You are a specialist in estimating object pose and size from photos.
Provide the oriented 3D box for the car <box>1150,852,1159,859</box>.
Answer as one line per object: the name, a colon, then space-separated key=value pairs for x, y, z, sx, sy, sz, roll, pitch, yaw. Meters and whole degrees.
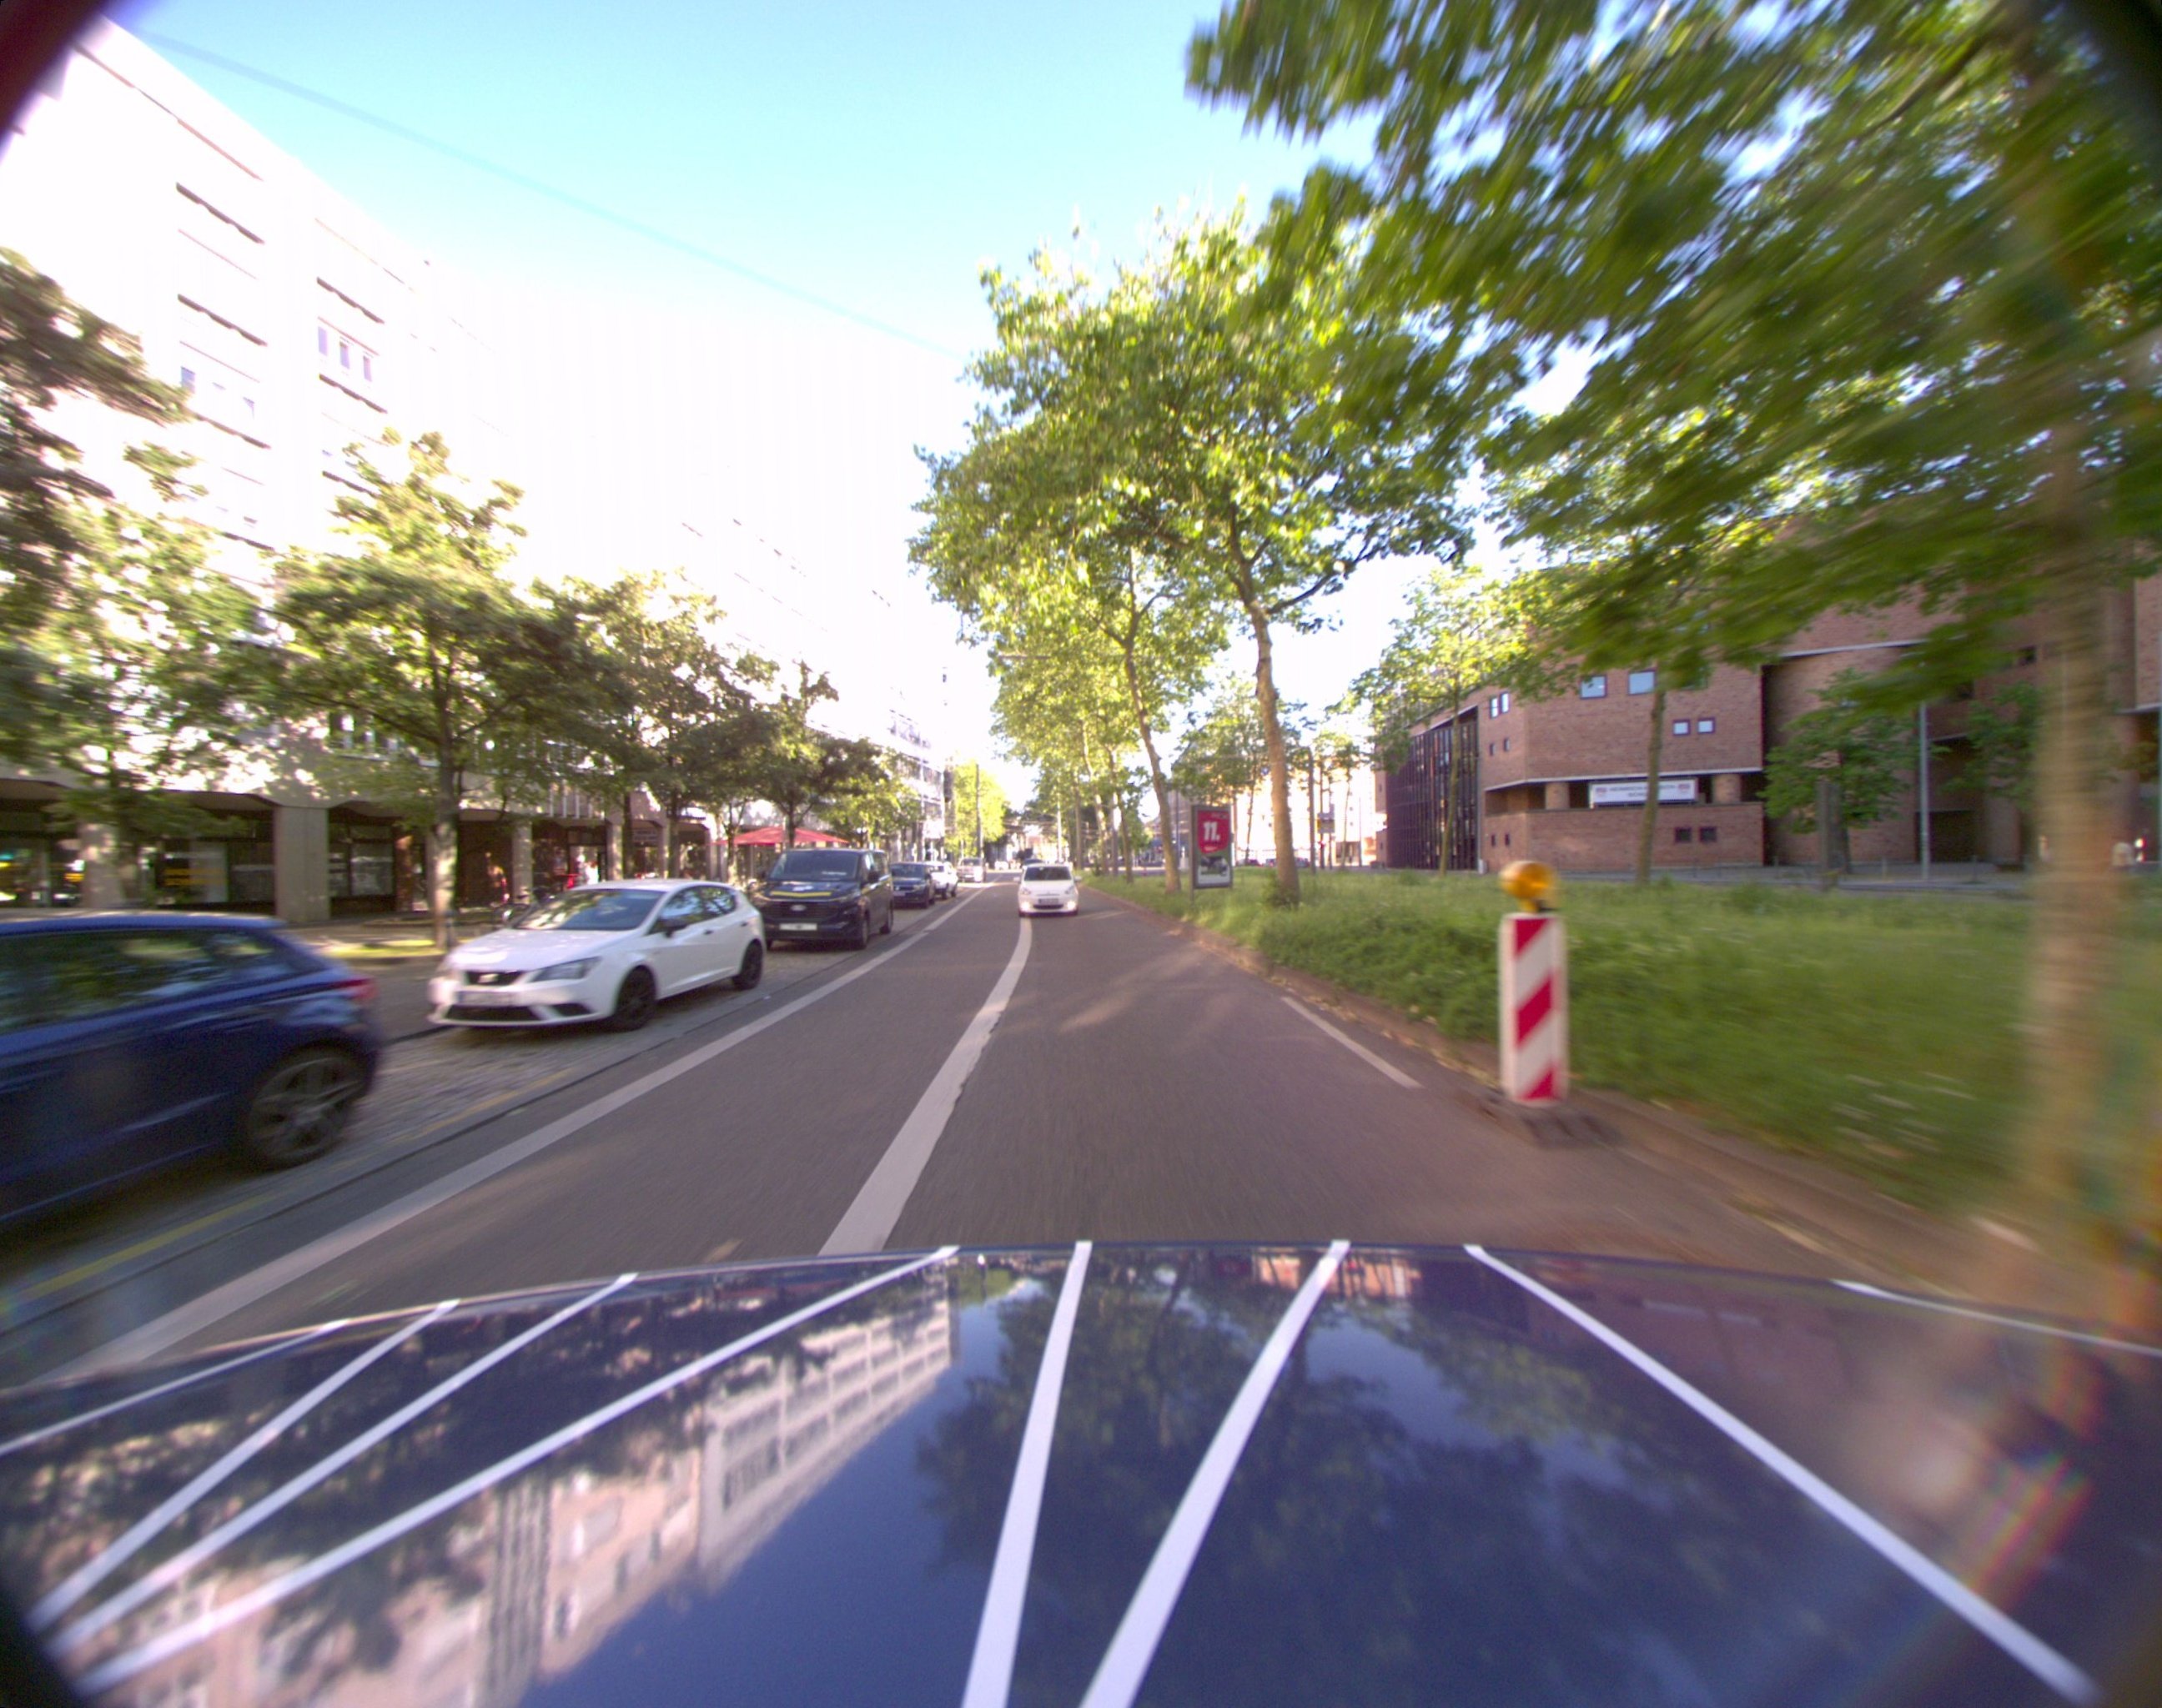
car: x=19.073 y=0.319 z=197.205 sx=1.703 sy=1.641 sz=4.000 roll=-1 pitch=0 yaw=0

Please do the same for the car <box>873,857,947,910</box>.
car: x=-6.042 y=0.993 z=27.379 sx=1.803 sy=1.714 sz=4.573 roll=1 pitch=0 yaw=-2

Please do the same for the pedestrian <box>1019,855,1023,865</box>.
pedestrian: x=-11.430 y=1.127 z=144.389 sx=0.654 sy=2.002 sz=0.741 roll=-1 pitch=0 yaw=-5

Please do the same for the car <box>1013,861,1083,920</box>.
car: x=-0.874 y=1.006 z=22.610 sx=1.720 sy=1.442 sz=4.425 roll=-4 pitch=0 yaw=1

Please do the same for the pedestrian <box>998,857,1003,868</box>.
pedestrian: x=-14.562 y=1.495 z=137.784 sx=0.645 sy=2.002 sz=0.657 roll=-1 pitch=0 yaw=23

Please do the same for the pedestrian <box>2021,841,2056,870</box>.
pedestrian: x=40.919 y=0.057 z=32.478 sx=0.664 sy=1.243 sz=0.758 roll=-1 pitch=1 yaw=29

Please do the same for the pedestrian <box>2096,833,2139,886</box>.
pedestrian: x=30.651 y=0.165 z=22.482 sx=0.417 sy=1.535 sz=0.653 roll=-1 pitch=1 yaw=10

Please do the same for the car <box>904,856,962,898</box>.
car: x=-6.362 y=0.936 z=33.090 sx=1.803 sy=1.714 sz=4.459 roll=1 pitch=0 yaw=-2

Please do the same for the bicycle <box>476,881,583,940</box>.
bicycle: x=-12.276 y=1.228 z=16.986 sx=0.484 sy=1.148 sz=1.915 roll=-1 pitch=0 yaw=24

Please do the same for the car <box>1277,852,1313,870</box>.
car: x=18.408 y=0.583 z=65.573 sx=1.675 sy=1.420 sz=4.148 roll=-1 pitch=0 yaw=-4

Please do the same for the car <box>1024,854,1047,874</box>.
car: x=-3.886 y=0.800 z=65.343 sx=1.824 sy=1.630 sz=3.999 roll=-1 pitch=0 yaw=-3

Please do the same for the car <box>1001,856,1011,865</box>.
car: x=-13.961 y=1.189 z=141.567 sx=1.866 sy=1.724 sz=4.017 roll=-1 pitch=0 yaw=-4

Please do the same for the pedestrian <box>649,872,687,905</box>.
pedestrian: x=-16.174 y=1.353 z=29.762 sx=0.931 sy=1.243 sz=0.968 roll=-1 pitch=0 yaw=0

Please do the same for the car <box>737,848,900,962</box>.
car: x=-5.075 y=0.881 z=15.536 sx=2.044 sy=1.932 sz=5.195 roll=1 pitch=0 yaw=-6

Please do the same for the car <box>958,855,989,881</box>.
car: x=-8.019 y=1.004 z=56.963 sx=1.922 sy=1.893 sz=4.859 roll=1 pitch=0 yaw=-3

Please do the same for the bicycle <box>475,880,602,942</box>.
bicycle: x=-11.743 y=1.198 z=16.538 sx=0.654 sy=1.180 sz=2.188 roll=-1 pitch=0 yaw=24

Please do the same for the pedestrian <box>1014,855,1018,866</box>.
pedestrian: x=-11.921 y=1.138 z=139.333 sx=0.614 sy=2.002 sz=0.529 roll=-1 pitch=0 yaw=-5

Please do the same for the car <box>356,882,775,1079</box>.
car: x=-5.073 y=1.119 z=8.325 sx=1.706 sy=1.457 sz=4.175 roll=0 pitch=0 yaw=1

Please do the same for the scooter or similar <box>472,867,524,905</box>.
scooter or similar: x=-20.335 y=1.114 z=26.523 sx=0.667 sy=1.248 sz=1.363 roll=-1 pitch=0 yaw=4

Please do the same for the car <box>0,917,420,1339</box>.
car: x=-5.035 y=1.140 z=2.680 sx=1.706 sy=1.475 sz=4.248 roll=0 pitch=0 yaw=0

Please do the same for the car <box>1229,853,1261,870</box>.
car: x=14.651 y=0.632 z=68.163 sx=1.617 sy=1.420 sz=4.148 roll=-1 pitch=0 yaw=-4

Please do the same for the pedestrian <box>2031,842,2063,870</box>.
pedestrian: x=41.842 y=0.075 z=32.902 sx=0.666 sy=1.191 sz=0.630 roll=-1 pitch=1 yaw=-13

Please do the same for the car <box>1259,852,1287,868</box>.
car: x=18.083 y=0.569 z=71.796 sx=1.617 sy=1.420 sz=3.220 roll=-1 pitch=0 yaw=-4

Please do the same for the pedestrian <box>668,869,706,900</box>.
pedestrian: x=-16.229 y=1.241 z=31.306 sx=0.887 sy=1.205 sz=1.124 roll=-1 pitch=0 yaw=7

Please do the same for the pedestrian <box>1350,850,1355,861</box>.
pedestrian: x=37.372 y=0.222 z=104.548 sx=0.566 sy=1.495 sz=0.512 roll=-1 pitch=-1 yaw=19
